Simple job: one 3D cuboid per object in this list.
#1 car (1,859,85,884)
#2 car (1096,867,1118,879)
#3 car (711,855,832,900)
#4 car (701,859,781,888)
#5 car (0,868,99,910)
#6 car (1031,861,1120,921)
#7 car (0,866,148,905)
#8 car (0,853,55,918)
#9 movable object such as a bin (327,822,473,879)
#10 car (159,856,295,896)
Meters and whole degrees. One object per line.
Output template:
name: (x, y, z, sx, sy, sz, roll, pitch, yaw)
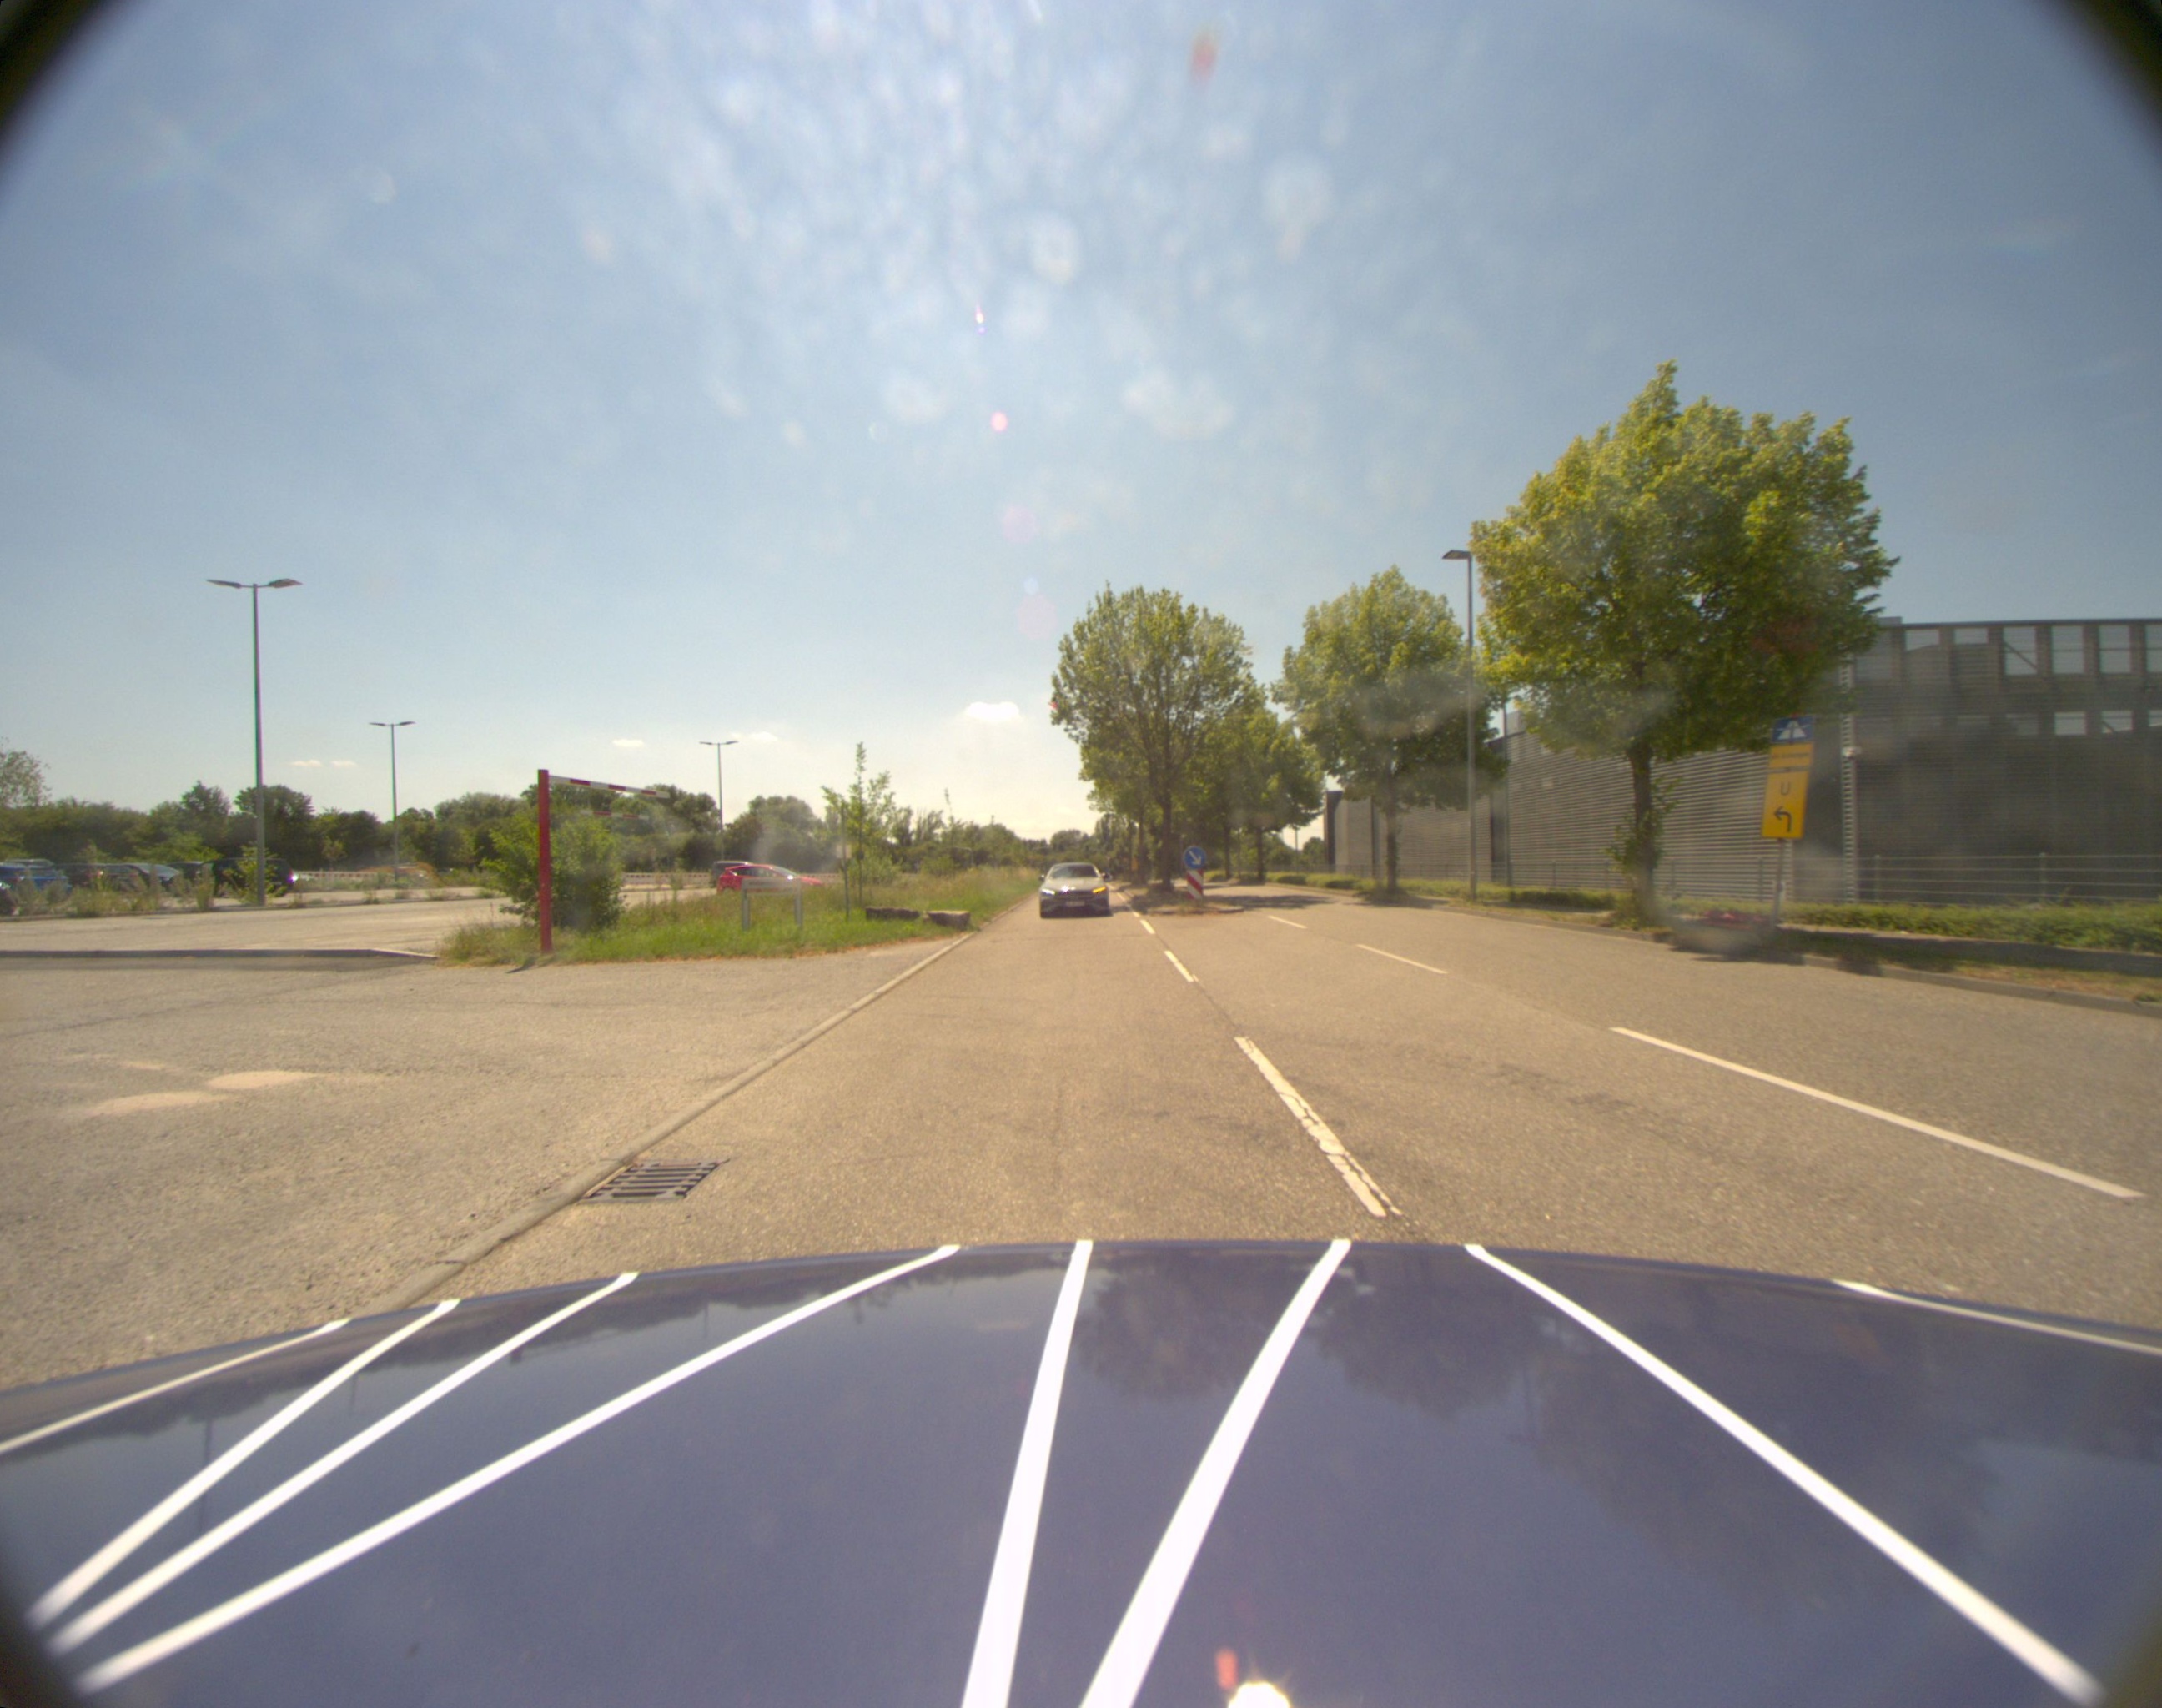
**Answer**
car: (-67.519, 1.114, 49.500, 1.879, 1.520, 3.990, 0, -1, -32)
car: (3.899, 2.910, 115.054, 2.001, 1.697, 3.860, -4, 0, -17)
car: (-12.170, 0.888, 30.073, 3.997, 1.713, 1.927, 0, 0, 1)
car: (-22.890, 1.311, 51.210, 4.474, 1.903, 1.940, 1, -2, -1)
car: (-38.558, 1.248, 27.367, 3.807, 1.455, 1.734, 1, -3, -4)
car: (-0.032, 0.987, 21.751, 1.921, 1.433, 4.485, -4, -1, 6)
car: (-44.640, 1.419, 33.479, 4.001, 1.629, 1.999, 1, -3, -11)
car: (-29.094, 0.792, 19.095, 3.997, 1.632, 1.927, 0, 0, 1)
movable object such as a bin: (-53.557, -0.139, 60.137, 8.122, 4.018, 2.981, 3, -4, -34)
car: (-38.549, 1.007, 34.379, 3.998, 1.747, 1.758, 1, -1, -2)
